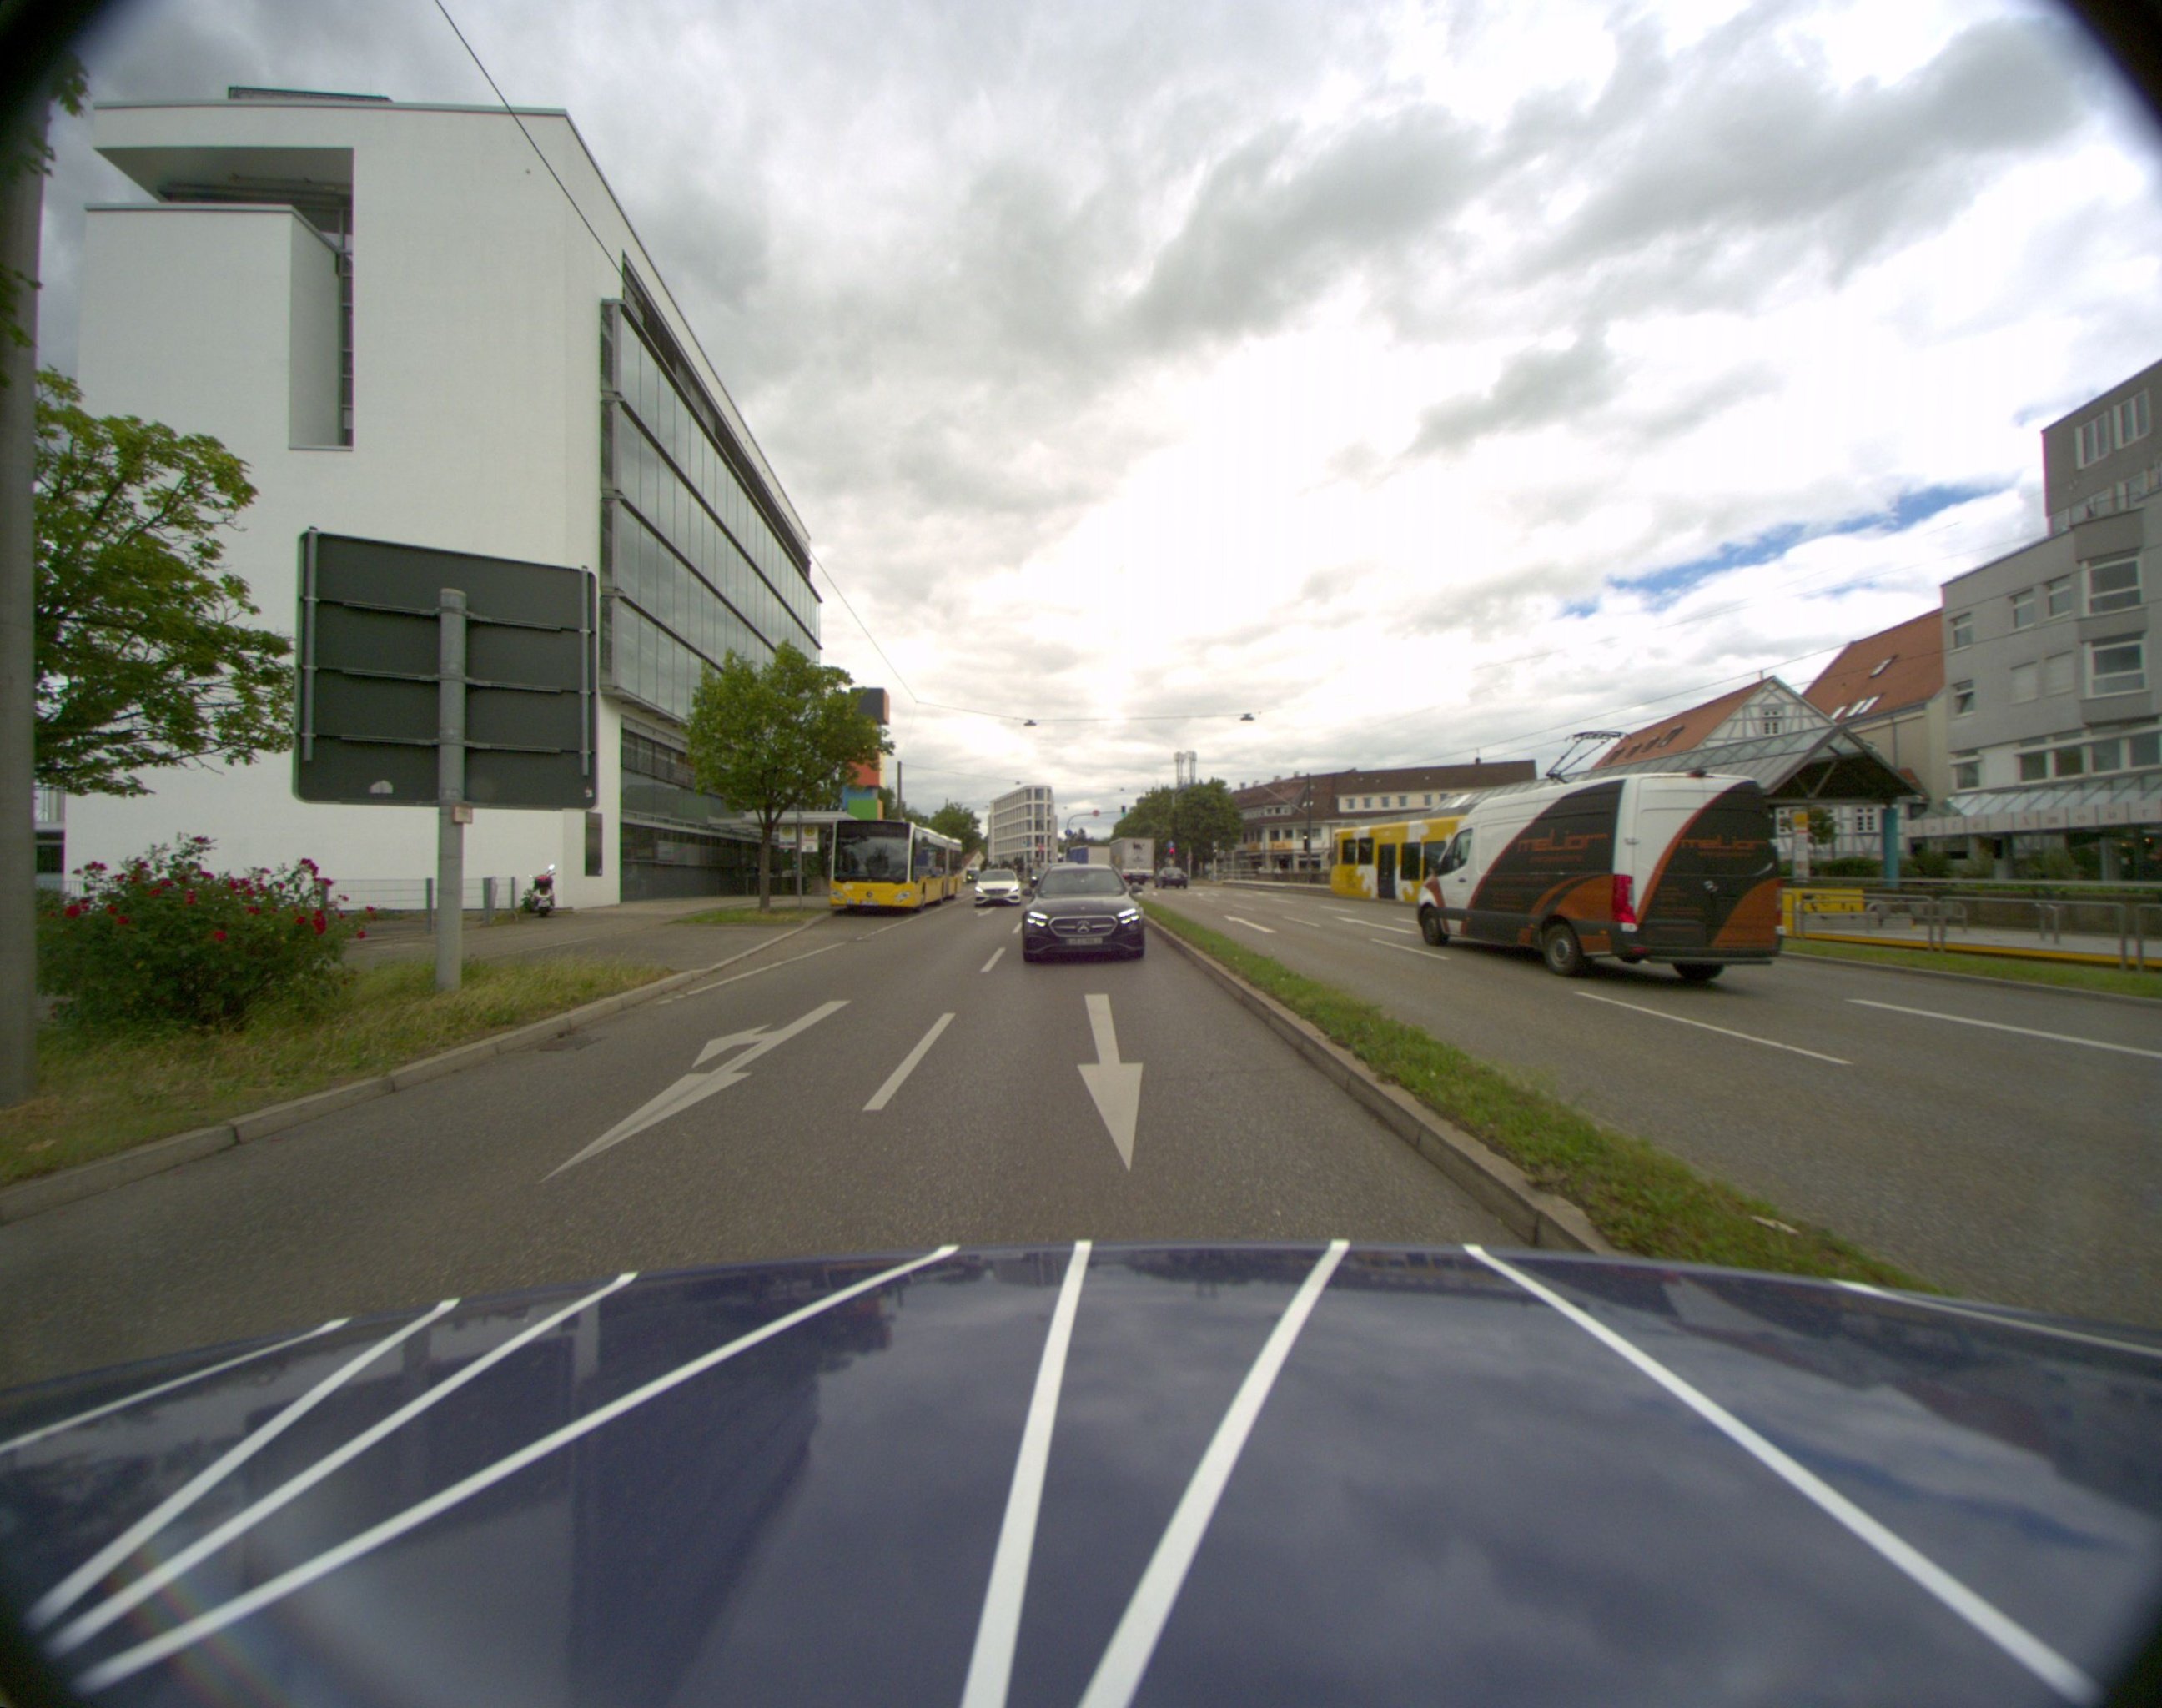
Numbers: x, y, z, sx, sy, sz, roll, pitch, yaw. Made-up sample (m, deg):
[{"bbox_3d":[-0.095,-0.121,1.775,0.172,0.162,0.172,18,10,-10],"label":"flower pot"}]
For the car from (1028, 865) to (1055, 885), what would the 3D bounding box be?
[{"bbox_3d":[-3.075,1.647,60.110,1.735,1.474,4.369,-1,0,2],"label":"car"}]

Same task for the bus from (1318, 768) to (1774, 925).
[{"bbox_3d":[14.528,-0.127,28.374,3.888,3.836,19.334,0,0,-5],"label":"bus"}]

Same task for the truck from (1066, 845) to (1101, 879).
[{"bbox_3d":[0.255,1.001,92.013,3.102,3.997,6.151,0,-1,-11],"label":"truck"}]

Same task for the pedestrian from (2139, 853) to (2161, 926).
[{"bbox_3d":[25.414,0.816,17.694,0.693,1.690,0.628,0,0,-2],"label":"pedestrian"}]

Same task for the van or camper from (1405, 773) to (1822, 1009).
[{"bbox_3d":[7.224,0.427,11.507,1.998,2.583,6.116,1,0,0],"label":"van or camper"}]

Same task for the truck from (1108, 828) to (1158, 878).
[{"bbox_3d":[4.308,0.004,65.063,2.947,3.934,9.161,-1,-1,-5],"label":"truck"}]

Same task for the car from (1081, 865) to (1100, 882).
[{"bbox_3d":[0.849,1.784,70.161,1.592,1.493,3.717,-1,0,-3],"label":"car"}]

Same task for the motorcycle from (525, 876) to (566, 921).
[{"bbox_3d":[-14.099,1.149,19.985,0.826,1.108,1.737,0,-1,-38],"label":"motorcycle"}]

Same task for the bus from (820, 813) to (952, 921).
[{"bbox_3d":[-6.662,0.405,27.723,2.991,3.222,9.861,0,0,-5],"label":"bus"}]

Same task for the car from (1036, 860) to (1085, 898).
[{"bbox_3d":[-0.929,1.195,37.225,1.734,1.680,4.371,-1,0,7],"label":"car"}]

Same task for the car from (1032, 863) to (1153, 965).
[{"bbox_3d":[0.087,0.999,14.702,1.873,1.542,4.772,-3,-1,-2],"label":"car"}]

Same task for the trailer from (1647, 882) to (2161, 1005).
[{"bbox_3d":[15.163,1.284,11.872,2.849,1.325,12.121,0,0,-5],"label":"trailer"}]

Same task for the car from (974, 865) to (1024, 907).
[{"bbox_3d":[-3.274,1.229,31.012,1.873,1.496,4.771,0,0,-5],"label":"car"}]

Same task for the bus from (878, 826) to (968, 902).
[{"bbox_3d":[-7.385,0.463,36.886,3.045,3.216,9.335,0,0,-4],"label":"bus"}]

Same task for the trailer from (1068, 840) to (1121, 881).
[{"bbox_3d":[1.250,0.882,86.460,3.113,4.243,14.835,0,-1,-10],"label":"trailer"}]

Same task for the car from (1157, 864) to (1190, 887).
[{"bbox_3d":[6.011,1.382,49.779,1.510,1.337,3.948,1,-1,-2],"label":"car"}]
